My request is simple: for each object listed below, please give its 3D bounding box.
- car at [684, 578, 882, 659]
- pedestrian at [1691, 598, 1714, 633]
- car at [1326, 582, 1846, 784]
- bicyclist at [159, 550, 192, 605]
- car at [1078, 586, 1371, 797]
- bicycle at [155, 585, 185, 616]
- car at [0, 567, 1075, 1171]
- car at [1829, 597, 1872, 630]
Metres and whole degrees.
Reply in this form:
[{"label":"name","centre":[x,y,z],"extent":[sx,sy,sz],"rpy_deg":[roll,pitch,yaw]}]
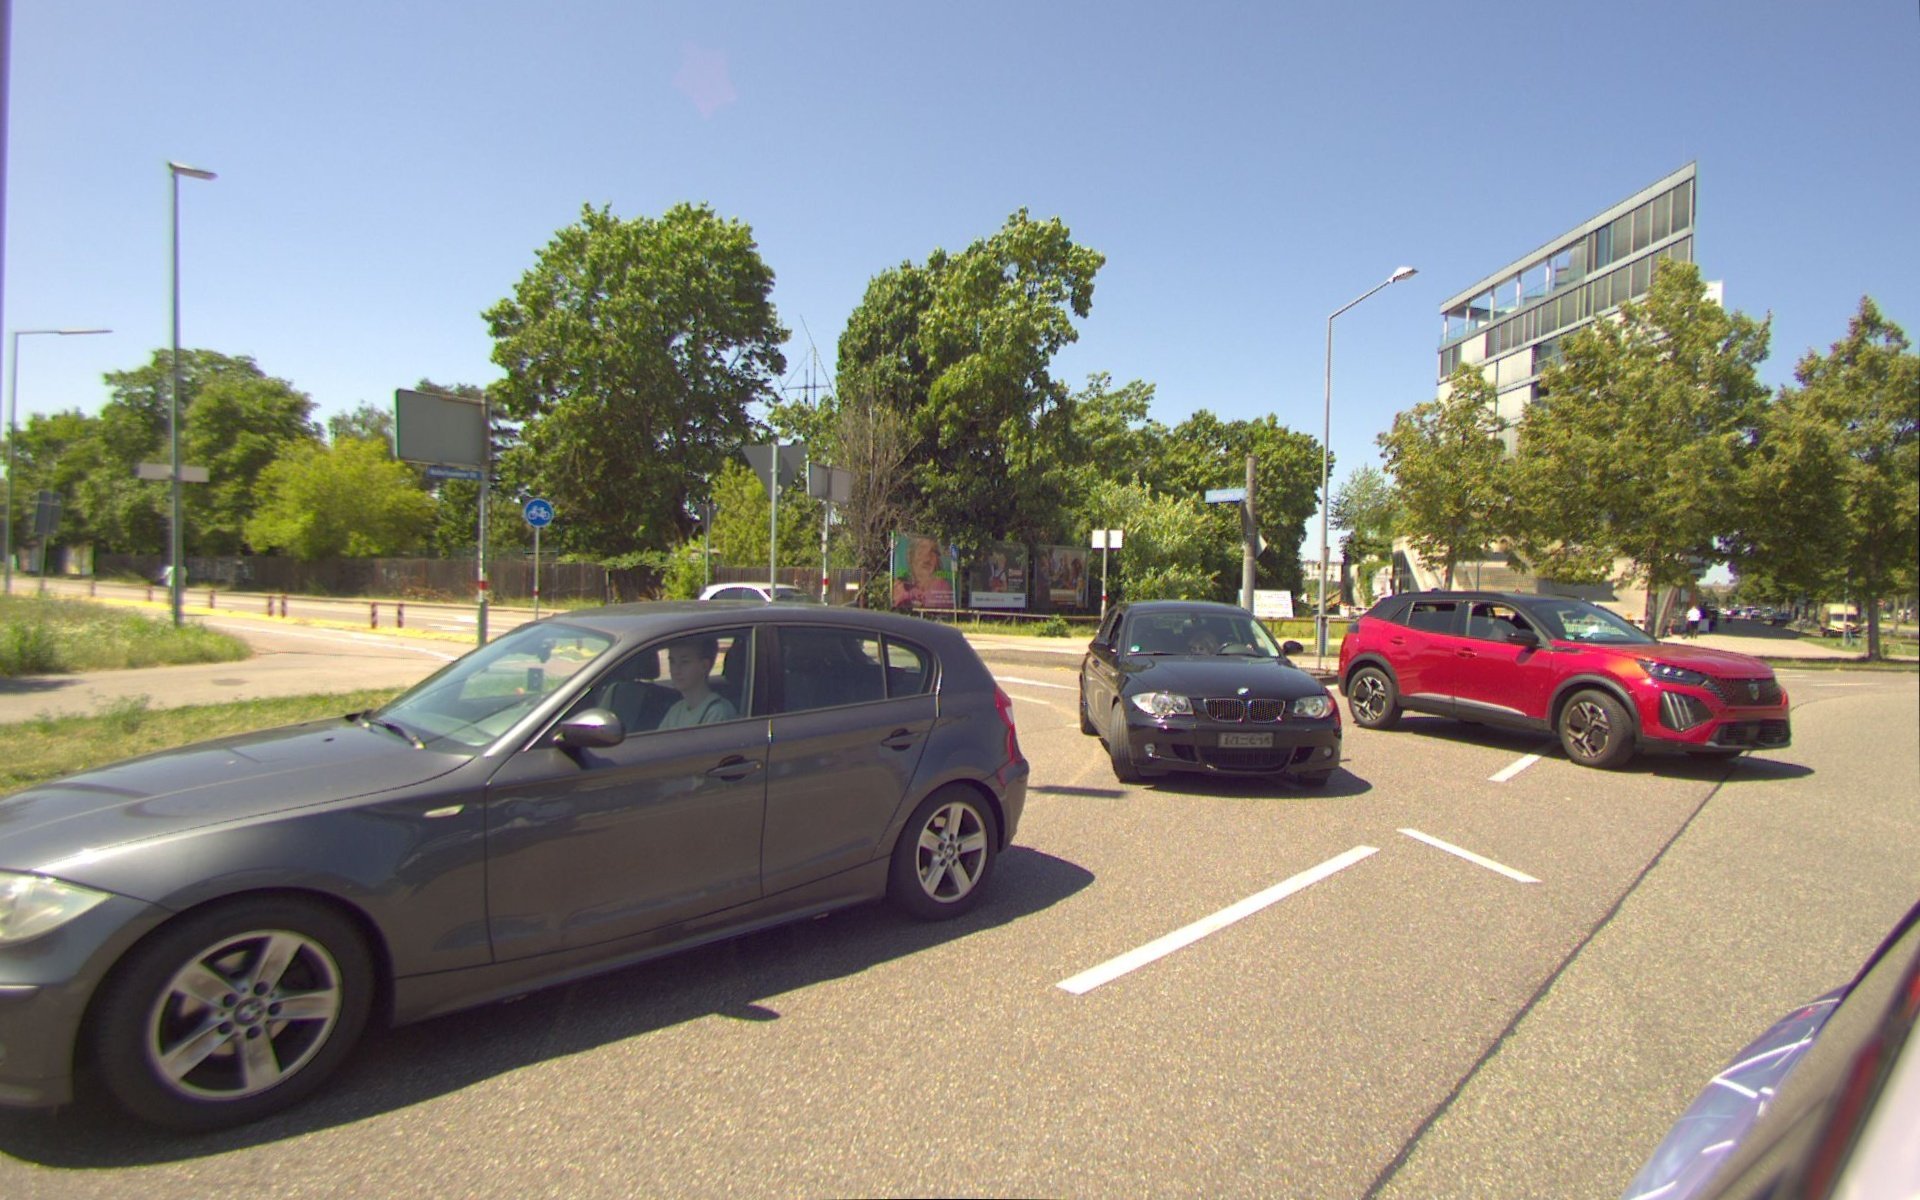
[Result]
[{"label":"car","centre":[-3.728,0.309,21.070],"extent":[3.976,1.446,1.840],"rpy_deg":[2,2,36]},{"label":"pedestrian","centre":[40.721,0.842,55.513],"extent":[0.601,1.892,0.834],"rpy_deg":[-1,2,-40]},{"label":"car","centre":[5.820,0.619,10.099],"extent":[1.685,1.546,4.221],"rpy_deg":[1,1,-21]},{"label":"bicyclist","centre":[-24.630,-0.703,31.767],"extent":[0.735,1.661,1.161],"rpy_deg":[1,0,-41]},{"label":"car","centre":[2.083,0.615,9.103],"extent":[1.770,1.458,3.997],"rpy_deg":[0,1,3]},{"label":"bicycle","centre":[-24.835,-0.002,31.805],"extent":[0.618,0.890,1.873],"rpy_deg":[0,2,-42]},{"label":"car","centre":[-1.509,0.636,4.244],"extent":[4.010,1.421,1.750],"rpy_deg":[1,0,-42]},{"label":"car","centre":[71.499,1.090,81.301],"extent":[1.986,2.540,3.952],"rpy_deg":[2,0,33]}]
